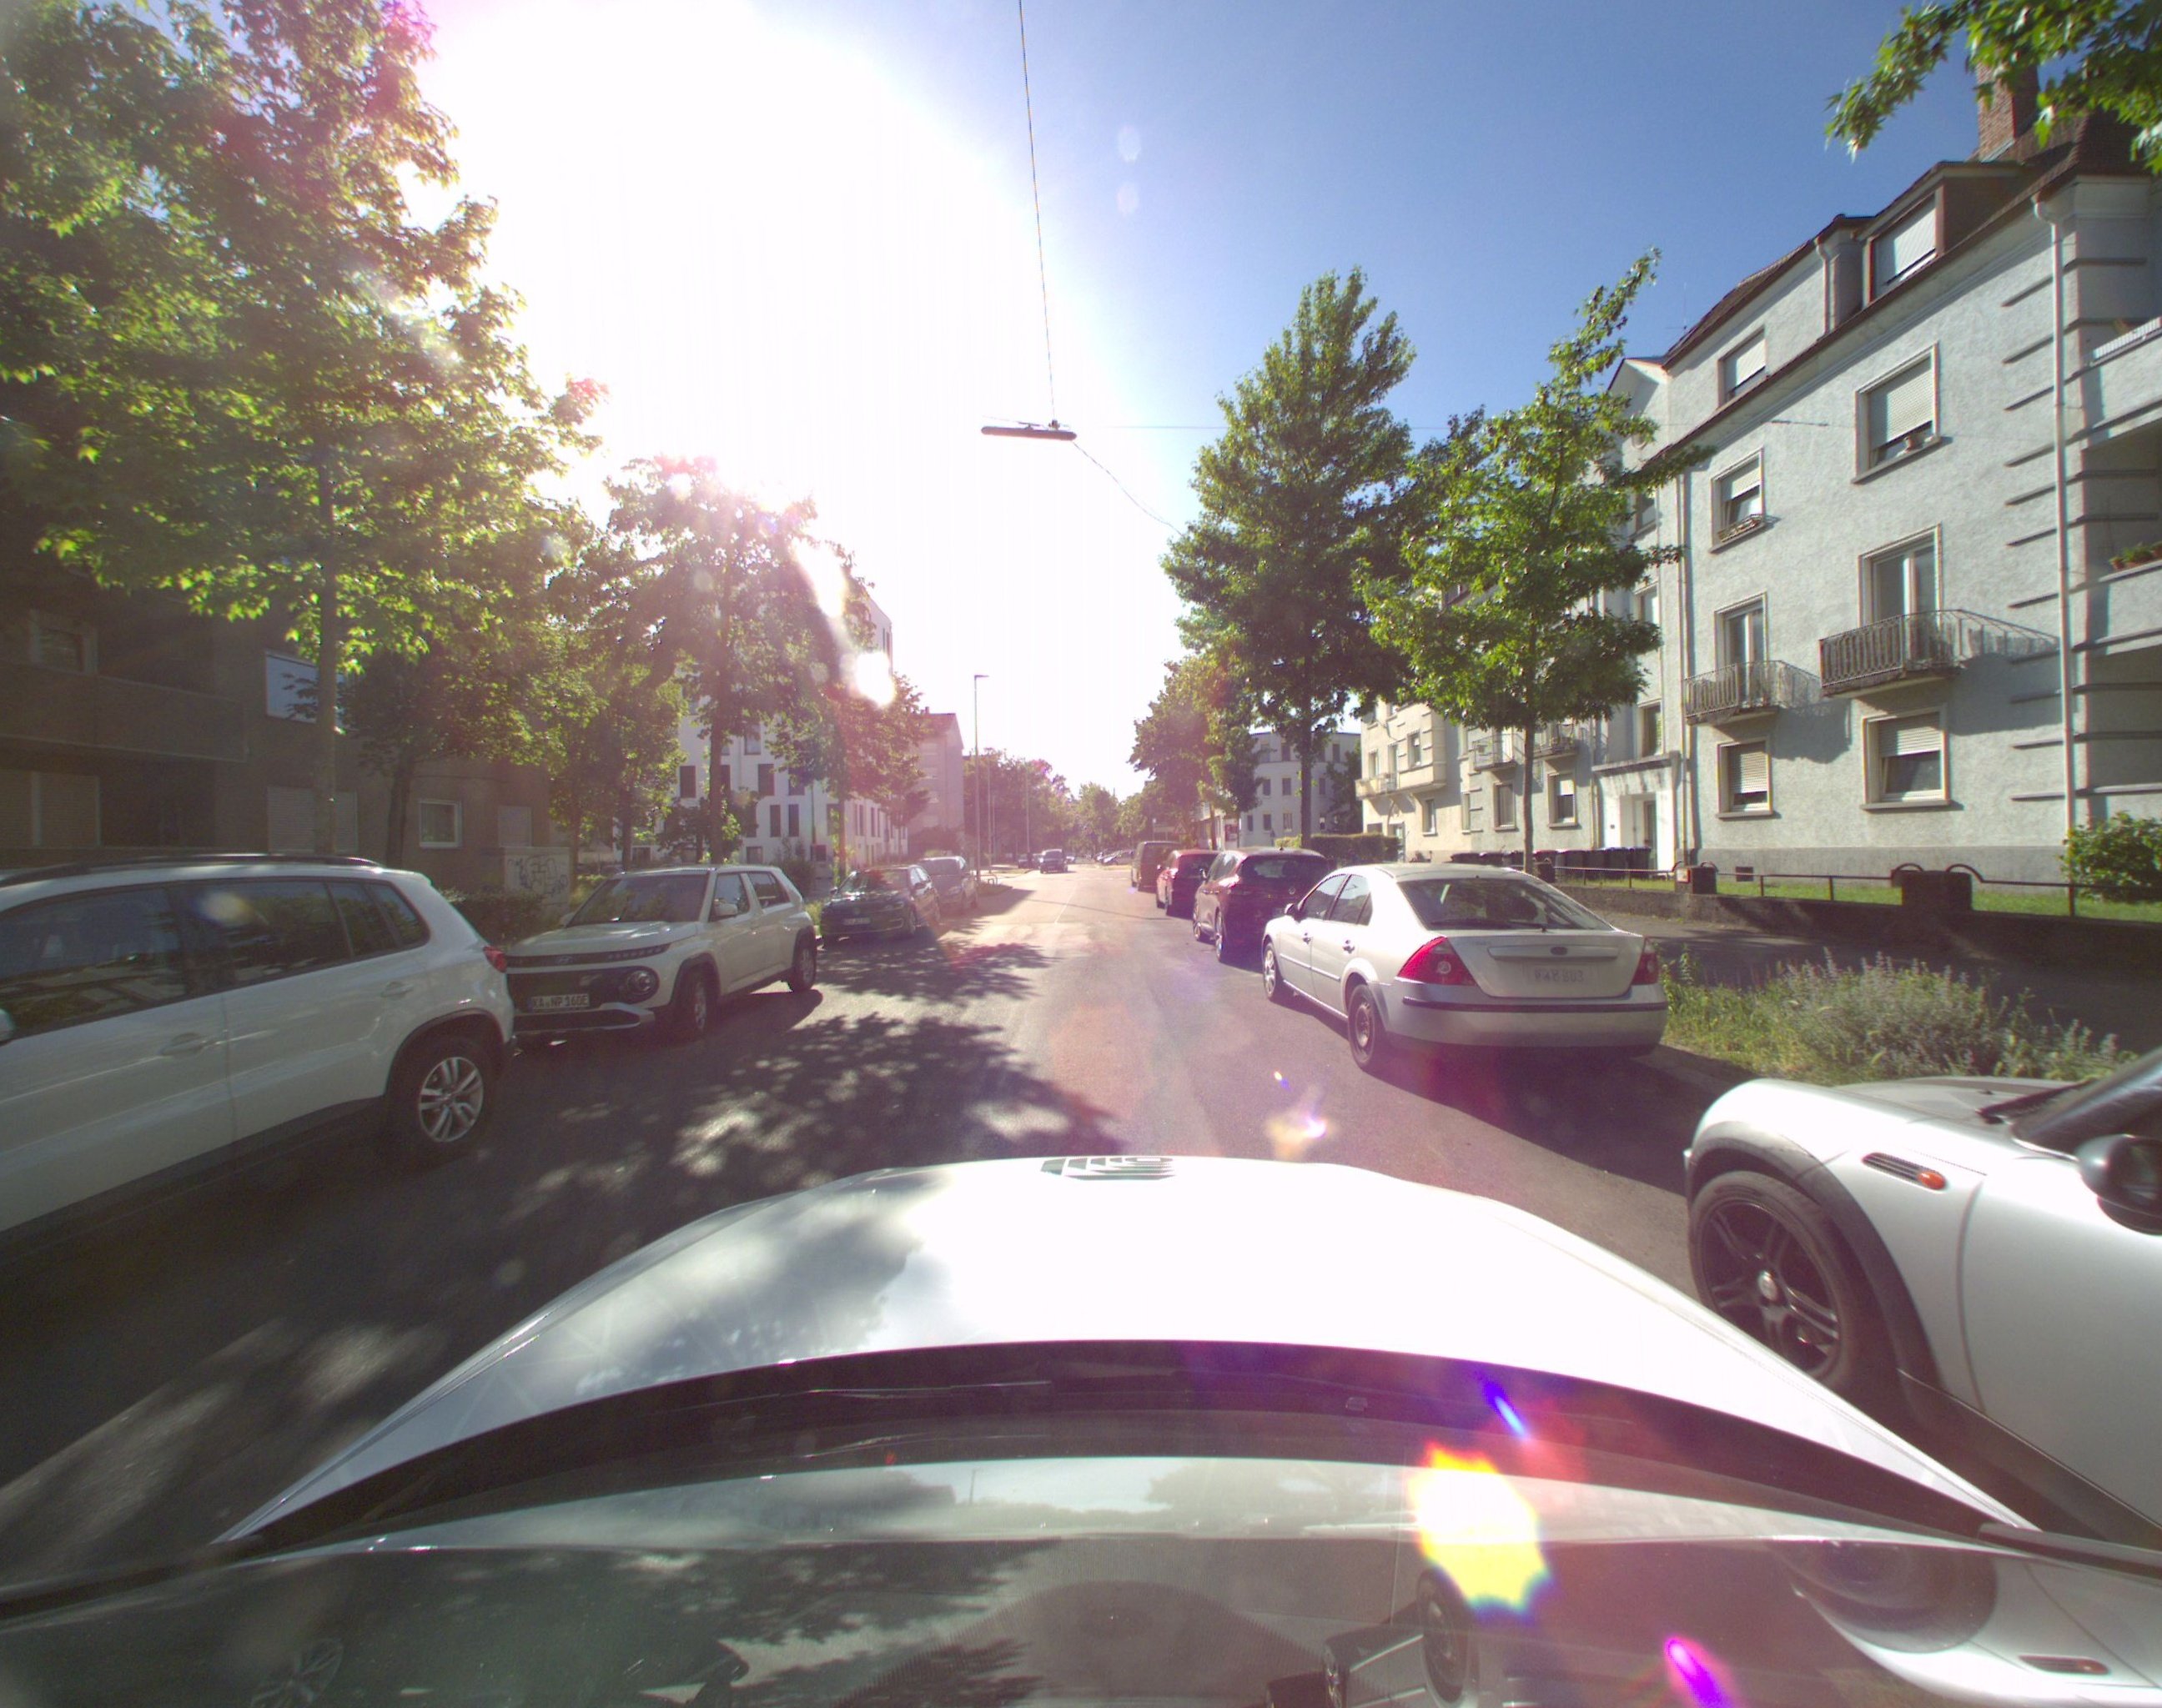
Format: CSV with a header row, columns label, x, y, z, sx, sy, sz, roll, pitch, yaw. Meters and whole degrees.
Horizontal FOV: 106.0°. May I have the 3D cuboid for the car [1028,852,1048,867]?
label,x,y,z,sx,sy,sz,roll,pitch,yaw
car,-4.899,0.603,92.705,1.987,1.585,4.000,-2,0,1

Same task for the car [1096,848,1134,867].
label,x,y,z,sx,sy,sz,roll,pitch,yaw
car,3.655,0.377,88.430,3.977,1.830,1.998,-2,0,-2

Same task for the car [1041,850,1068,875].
label,x,y,z,sx,sy,sz,roll,pitch,yaw
car,-1.862,0.557,57.517,1.778,1.609,3.998,-2,0,-1

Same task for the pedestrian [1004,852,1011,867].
label,x,y,z,sx,sy,sz,roll,pitch,yaw
pedestrian,-9.876,0.757,109.449,0.761,1.900,0.817,-2,0,-6

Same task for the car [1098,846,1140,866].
label,x,y,z,sx,sy,sz,roll,pitch,yaw
car,3.799,0.160,81.104,3.977,1.805,1.888,-2,0,-2

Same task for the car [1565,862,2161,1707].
label,x,y,z,sx,sy,sz,roll,pitch,yaw
car,2.711,0.778,1.172,1.783,1.453,3.781,-1,0,0

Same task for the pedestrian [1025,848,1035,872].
label,x,y,z,sx,sy,sz,roll,pitch,yaw
pedestrian,-4.208,0.507,67.293,0.715,1.900,0.834,-2,0,-9

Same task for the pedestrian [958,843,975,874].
label,x,y,z,sx,sy,sz,roll,pitch,yaw
pedestrian,-7.752,0.311,55.100,0.854,2.013,0.984,-2,0,9

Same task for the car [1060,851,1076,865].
label,x,y,z,sx,sy,sz,roll,pitch,yaw
car,-1.572,0.508,101.545,1.889,1.560,4.000,-2,0,0

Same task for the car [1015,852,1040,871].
label,x,y,z,sx,sy,sz,roll,pitch,yaw
car,-5.091,0.651,77.416,1.987,1.671,4.000,-2,0,1

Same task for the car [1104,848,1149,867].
label,x,y,z,sx,sy,sz,roll,pitch,yaw
car,4.191,0.274,75.886,3.979,1.587,1.725,-2,0,-4

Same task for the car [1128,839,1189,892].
label,x,y,z,sx,sy,sz,roll,pitch,yaw
car,3.098,0.445,33.542,1.964,1.949,4.984,-2,0,0

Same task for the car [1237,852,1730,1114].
label,x,y,z,sx,sy,sz,roll,pitch,yaw
car,2.769,0.748,7.020,1.891,1.474,4.697,1,0,-1

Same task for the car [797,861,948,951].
label,x,y,z,sx,sy,sz,roll,pitch,yaw
car,-4.203,0.986,17.216,1.987,1.453,4.261,-4,0,0

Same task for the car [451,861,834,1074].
label,x,y,z,sx,sy,sz,roll,pitch,yaw
car,-4.117,0.928,8.504,1.704,1.544,3.931,-4,0,1

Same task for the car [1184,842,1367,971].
label,x,y,z,sx,sy,sz,roll,pitch,yaw
car,2.866,0.686,13.004,1.900,1.699,4.313,1,0,0

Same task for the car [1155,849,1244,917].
label,x,y,z,sx,sy,sz,roll,pitch,yaw
car,2.991,0.670,21.315,1.827,1.600,4.159,0,0,1

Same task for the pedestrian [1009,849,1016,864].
label,x,y,z,sx,sy,sz,roll,pitch,yaw
pedestrian,-9.559,0.350,113.065,0.858,2.013,0.979,-2,0,-6

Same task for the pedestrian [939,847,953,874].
label,x,y,z,sx,sy,sz,roll,pitch,yaw
pedestrian,-10.358,0.519,62.384,0.857,2.013,0.980,-2,0,-2

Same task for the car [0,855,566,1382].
label,x,y,z,sx,sy,sz,roll,pitch,yaw
car,-4.228,0.852,3.055,1.805,1.596,4.233,-3,0,0

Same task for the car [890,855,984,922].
label,x,y,z,sx,sy,sz,roll,pitch,yaw
car,-3.984,0.891,23.287,1.834,1.595,4.261,-4,0,0

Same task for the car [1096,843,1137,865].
label,x,y,z,sx,sy,sz,roll,pitch,yaw
car,3.657,-0.013,83.932,3.977,2.013,1.998,-2,0,-2
